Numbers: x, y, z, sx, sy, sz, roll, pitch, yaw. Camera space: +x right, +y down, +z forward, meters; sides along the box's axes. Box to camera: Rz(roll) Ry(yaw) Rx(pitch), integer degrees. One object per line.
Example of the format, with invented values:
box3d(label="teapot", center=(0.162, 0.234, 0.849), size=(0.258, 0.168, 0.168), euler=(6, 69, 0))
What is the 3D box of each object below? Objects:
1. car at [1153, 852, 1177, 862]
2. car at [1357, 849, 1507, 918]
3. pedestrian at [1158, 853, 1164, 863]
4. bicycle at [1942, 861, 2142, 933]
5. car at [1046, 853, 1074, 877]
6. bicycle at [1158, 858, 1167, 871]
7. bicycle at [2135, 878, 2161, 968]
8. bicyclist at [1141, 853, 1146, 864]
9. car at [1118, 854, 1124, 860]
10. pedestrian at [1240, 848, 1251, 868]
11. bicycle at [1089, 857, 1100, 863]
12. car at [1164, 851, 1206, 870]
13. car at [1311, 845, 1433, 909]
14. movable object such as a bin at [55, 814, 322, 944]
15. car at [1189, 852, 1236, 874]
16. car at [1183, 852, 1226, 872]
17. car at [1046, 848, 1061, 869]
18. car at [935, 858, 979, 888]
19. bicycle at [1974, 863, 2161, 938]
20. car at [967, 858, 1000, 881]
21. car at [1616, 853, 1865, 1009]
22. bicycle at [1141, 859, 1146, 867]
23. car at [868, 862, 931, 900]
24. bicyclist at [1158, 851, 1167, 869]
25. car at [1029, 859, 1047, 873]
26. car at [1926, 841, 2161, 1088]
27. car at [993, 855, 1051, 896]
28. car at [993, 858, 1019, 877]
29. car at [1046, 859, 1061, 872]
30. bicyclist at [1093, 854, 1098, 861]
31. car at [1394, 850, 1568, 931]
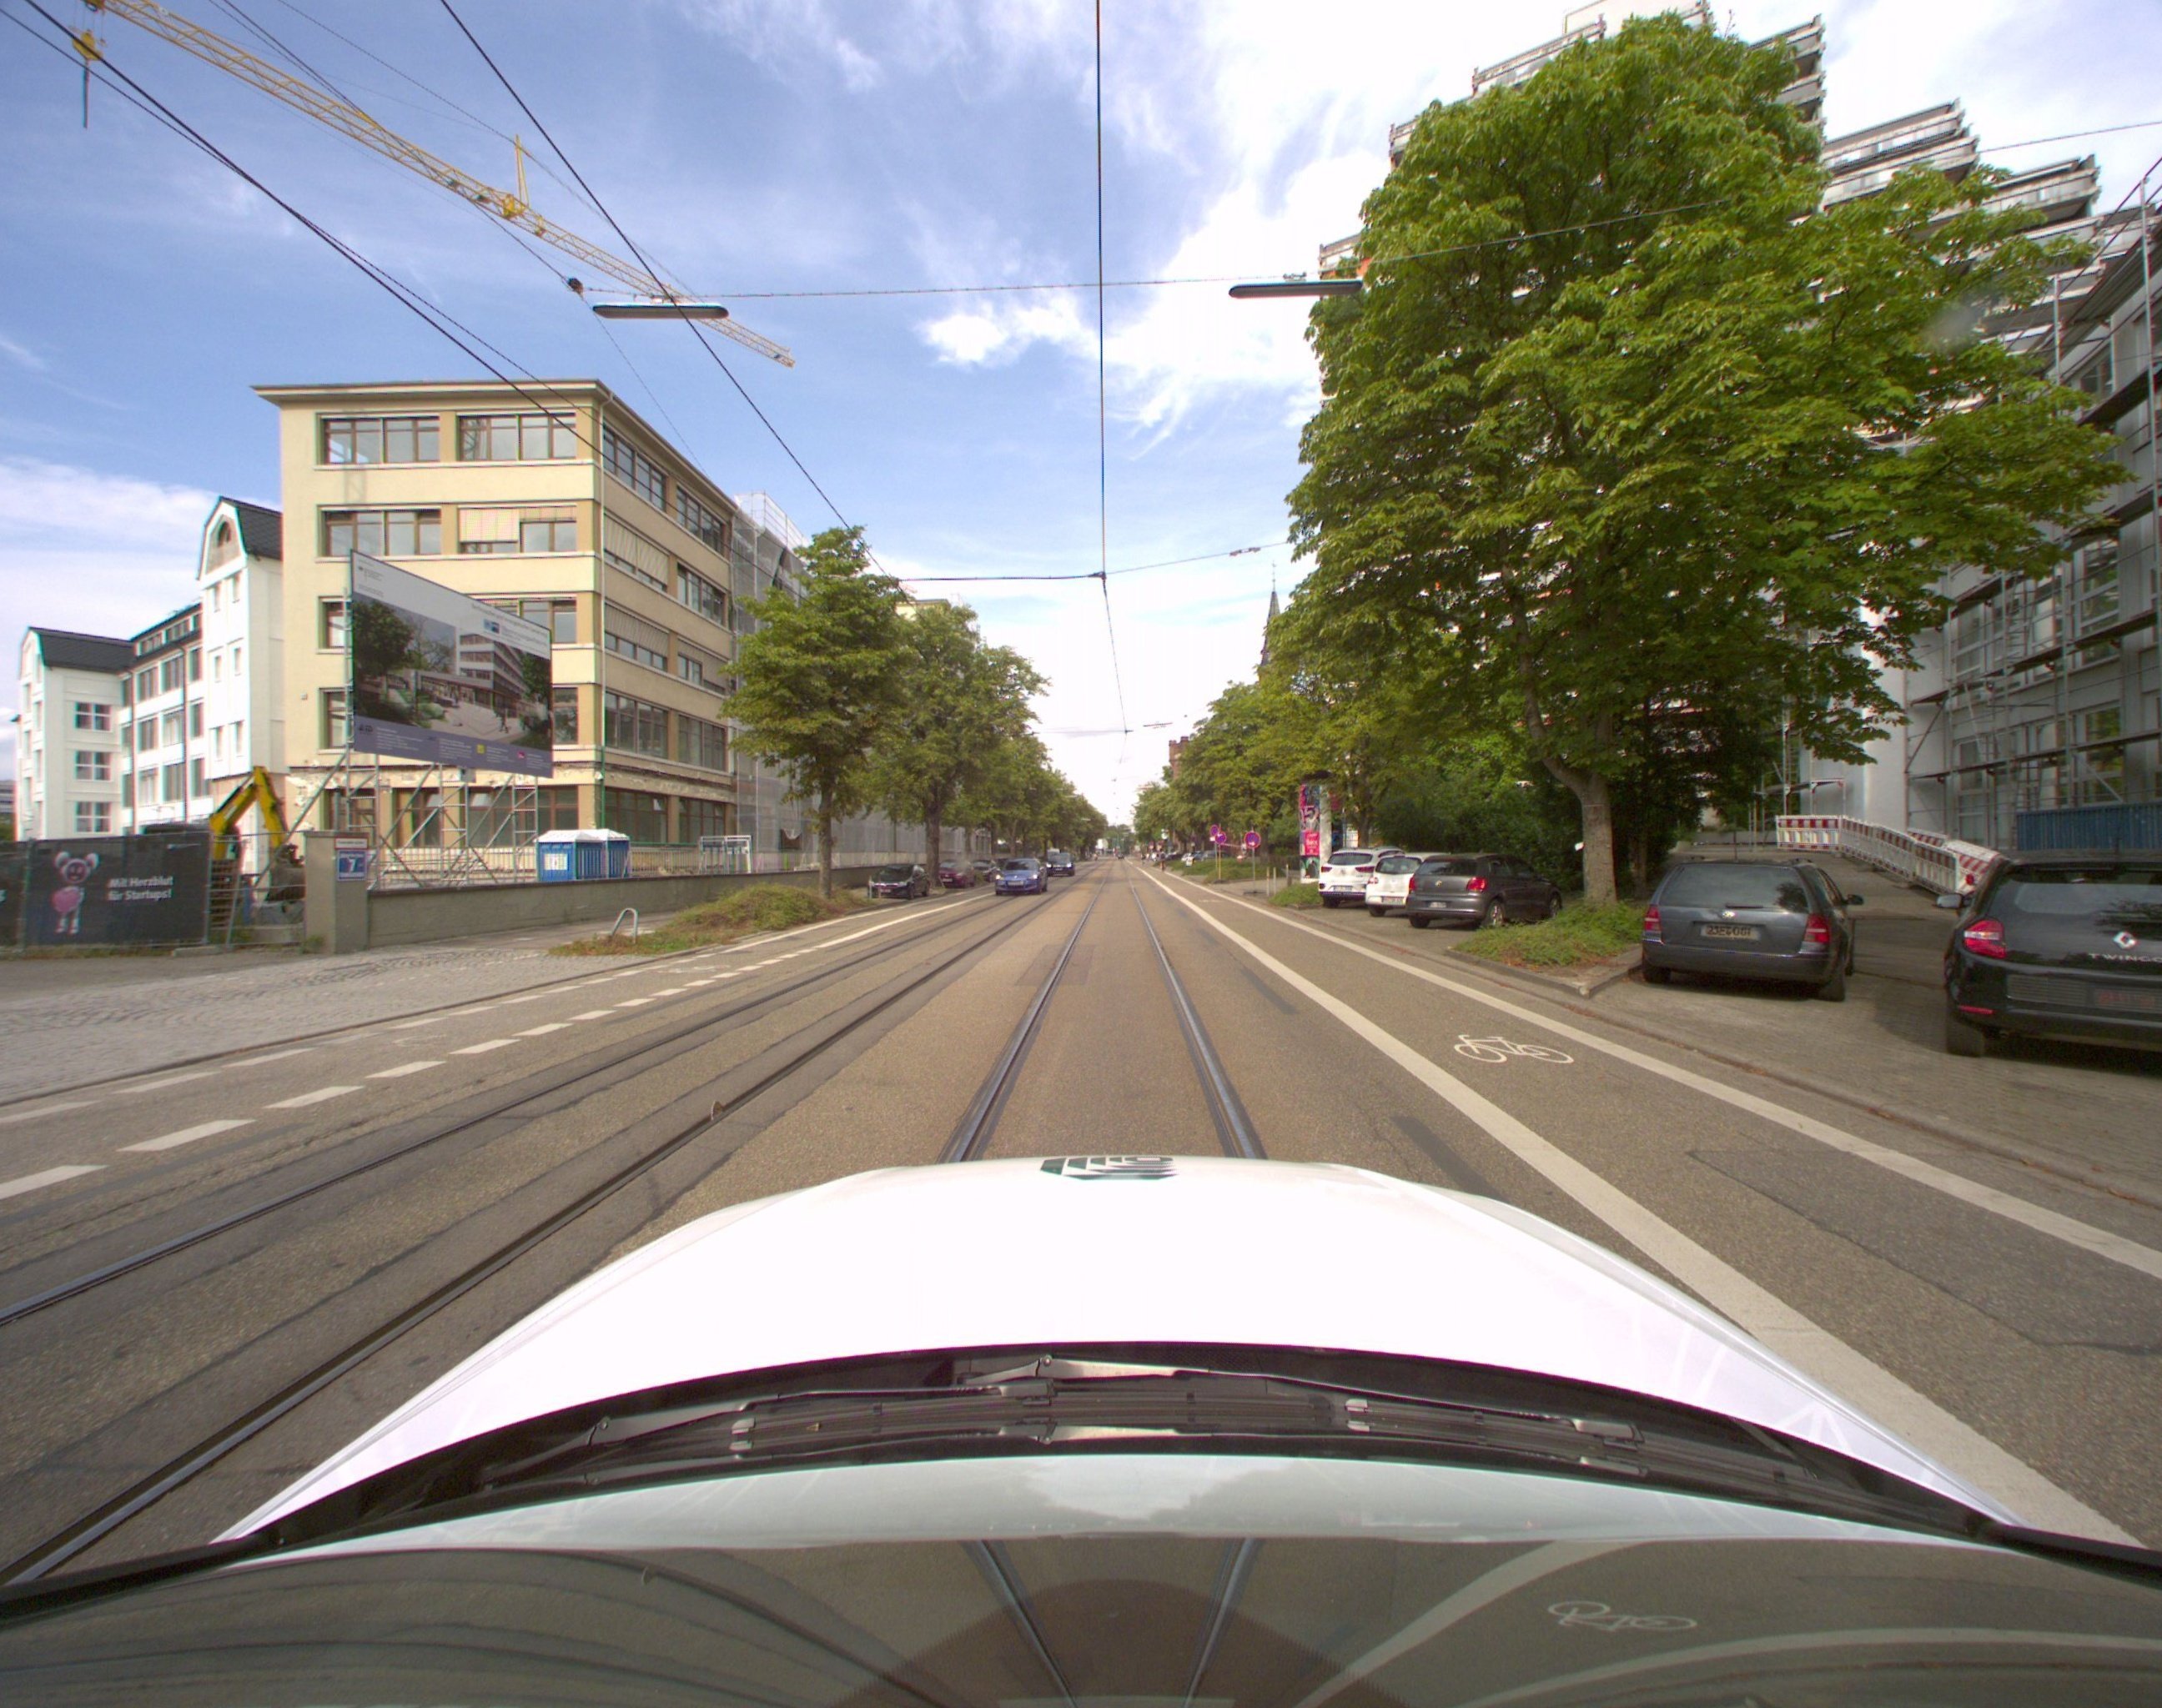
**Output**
box3d(label="car", center=(14.929, 0.466, 144.526), size=(3.978, 1.693, 1.998), euler=(-1, 0, -3))
box3d(label="car", center=(8.299, 0.640, 19.168), size=(3.663, 1.474, 1.663), euler=(0, -1, -37))
box3d(label="pedestrian", center=(14.173, 0.680, 144.212), size=(0.741, 1.790, 0.734), euler=(-1, -1, 17))
box3d(label="bicycle", center=(15.117, 0.645, 12.898), size=(1.952, 1.043, 0.598), euler=(0, 0, 39))
box3d(label="car", center=(-1.454, 0.757, 58.213), size=(1.725, 1.628, 4.380), euler=(-2, 0, 2))
box3d(label="bicycle", center=(6.707, 0.877, 67.053), size=(0.591, 1.043, 1.978), euler=(-1, 0, 0))
box3d(label="bicycle", center=(13.614, 0.792, 9.326), size=(1.817, 1.043, 0.456), euler=(-2, -1, 31))
box3d(label="bicyclist", center=(8.600, 0.634, 112.212), size=(0.656, 1.496, 0.930), euler=(-1, 0, 3))
box3d(label="car", center=(11.581, 0.844, 235.006), size=(1.788, 1.824, 4.680), euler=(0, 0, 2))
box3d(label="pedestrian", center=(15.133, 0.351, 74.910), size=(0.779, 1.826, 0.665), euler=(-1, 0, 22))
box3d(label="bicycle", center=(2.873, 1.172, 169.954), size=(2.260, 1.189, 0.771), euler=(0, 0, 10))
box3d(label="car", center=(9.038, 0.566, 70.395), size=(3.667, 1.602, 1.661), euler=(0, -1, -43))
box3d(label="car", center=(8.057, 0.579, 22.394), size=(3.667, 1.602, 1.661), euler=(0, -1, -43))
box3d(label="movable object such as a bin", center=(-18.349, 0.500, 16.879), size=(3.030, 2.443, 2.506), euler=(-1, -1, 12))
box3d(label="car", center=(9.924, 0.631, 61.323), size=(3.667, 1.602, 1.661), euler=(0, -1, -43))
box3d(label="car", center=(10.348, 0.634, 68.213), size=(3.667, 1.602, 1.661), euler=(0, -1, -43))
box3d(label="car", center=(-3.577, 0.559, 106.686), size=(1.715, 2.704, 5.470), euler=(0, 0, 1))
box3d(label="car", center=(-6.503, 0.972, 43.128), size=(1.629, 1.496, 3.964), euler=(0, 0, 2))
box3d(label="bicycle", center=(14.751, 0.665, 12.063), size=(1.952, 1.043, 0.598), euler=(0, 0, 30))
box3d(label="car", center=(-6.214, 0.978, 52.329), size=(1.585, 1.402, 3.962), euler=(0, 0, 0))
box3d(label="car", center=(7.882, 0.714, 9.582), size=(4.194, 1.415, 1.794), euler=(0, -1, -44))
box3d(label="bicycle", center=(8.600, 1.194, 112.205), size=(0.660, 1.043, 1.842), euler=(-1, 0, 3))
box3d(label="car", center=(-7.160, 1.035, 32.477), size=(1.585, 1.402, 3.962), euler=(0, 0, 0))
box3d(label="bicyclist", center=(6.707, 0.484, 67.056), size=(0.591, 1.459, 0.875), euler=(-1, 0, 0))
box3d(label="car", center=(-4.338, 1.234, 83.134), size=(1.585, 1.402, 3.962), euler=(0, 0, 0))
box3d(label="car", center=(7.885, 0.677, 6.394), size=(3.436, 1.537, 1.577), euler=(-1, 0, -41))
box3d(label="car", center=(-2.332, 0.832, 33.421), size=(1.724, 1.496, 4.383), euler=(-1, 0, 4))
box3d(label="car", center=(-5.752, 1.025, 62.637), size=(1.585, 1.402, 3.962), euler=(0, 0, 0))
box3d(label="car", center=(-3.132, 1.314, 93.305), size=(1.585, 1.402, 3.962), euler=(0, 0, 0))
box3d(label="bicyclist", center=(2.970, 0.698, 169.944), size=(0.841, 1.504, 0.771), euler=(-1, 0, 10))
box3d(label="car", center=(8.027, 0.655, 16.245), size=(3.663, 1.419, 1.663), euler=(0, -1, -37))
